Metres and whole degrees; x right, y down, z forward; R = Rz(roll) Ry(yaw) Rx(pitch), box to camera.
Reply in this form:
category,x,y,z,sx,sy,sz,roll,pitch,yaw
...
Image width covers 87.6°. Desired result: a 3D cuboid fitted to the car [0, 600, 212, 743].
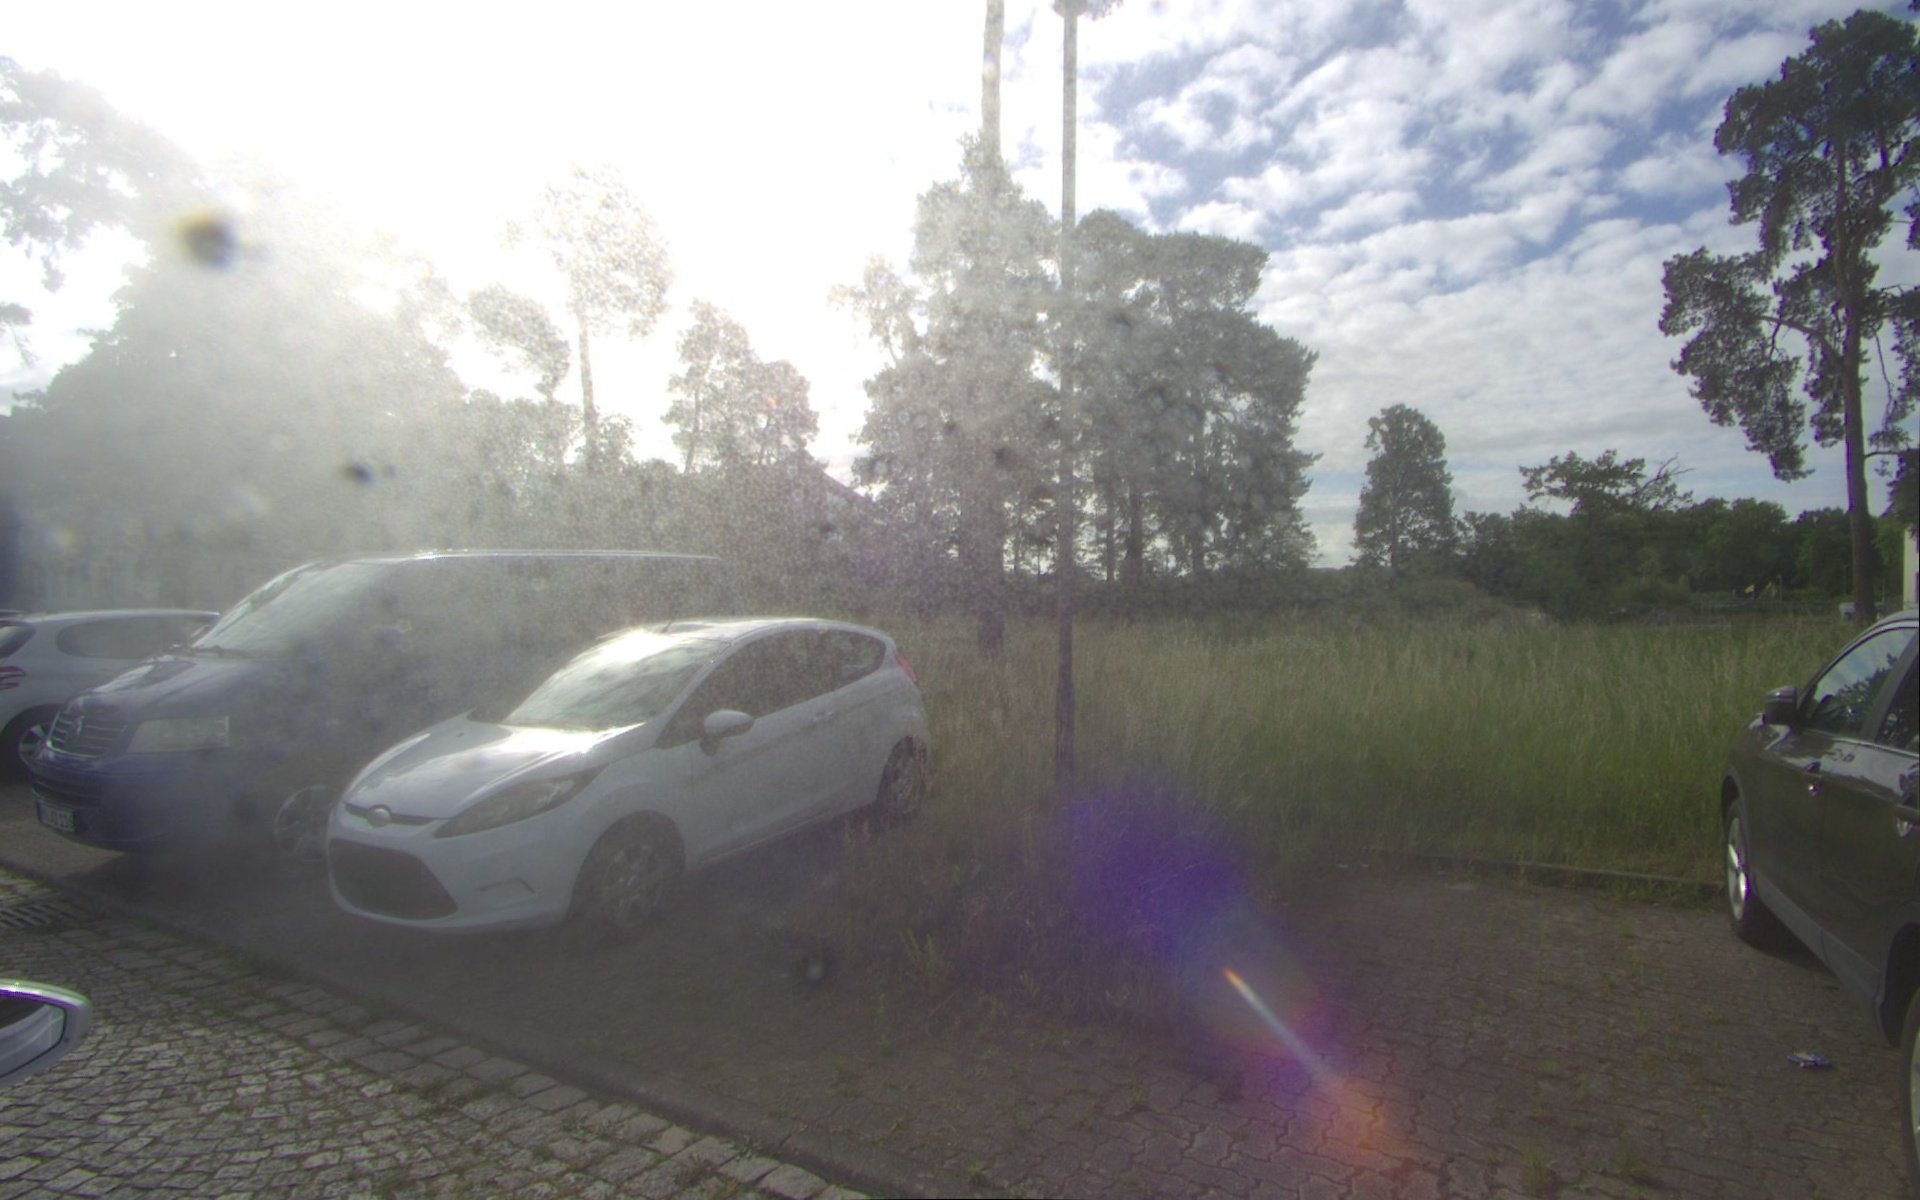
category,x,y,z,sx,sy,sz,roll,pitch,yaw
car,-10.925,0.764,11.370,1.635,1.526,3.602,1,0,20

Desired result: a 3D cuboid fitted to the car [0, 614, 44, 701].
category,x,y,z,sx,sy,sz,roll,pitch,yaw
car,-15.583,0.861,14.323,1.637,1.284,3.292,1,0,25

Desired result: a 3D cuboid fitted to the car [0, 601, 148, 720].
category,x,y,z,sx,sy,sz,roll,pitch,yaw
car,-13.105,0.774,13.254,1.635,1.524,3.296,1,0,20

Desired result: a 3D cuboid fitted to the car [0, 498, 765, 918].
category,x,y,z,sx,sy,sz,roll,pitch,yaw
car,-3.688,0.552,7.425,1.712,2.067,4.776,1,0,30

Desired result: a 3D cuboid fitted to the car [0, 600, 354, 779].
category,x,y,z,sx,sy,sz,roll,pitch,yaw
car,-8.257,0.771,10.125,1.638,1.524,3.289,1,0,29

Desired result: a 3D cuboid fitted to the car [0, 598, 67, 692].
category,x,y,z,sx,sy,sz,roll,pitch,yaw
car,-17.153,0.737,16.010,1.637,1.564,3.987,1,0,25

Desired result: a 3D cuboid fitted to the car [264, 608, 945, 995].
category,x,y,z,sx,sy,sz,roll,pitch,yaw
car,-1.698,0.818,5.996,1.629,1.443,3.718,1,1,28

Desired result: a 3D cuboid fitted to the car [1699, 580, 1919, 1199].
category,x,y,z,sx,sy,sz,roll,pitch,yaw
car,3.642,0.772,3.042,1.735,1.601,3.946,1,0,29
